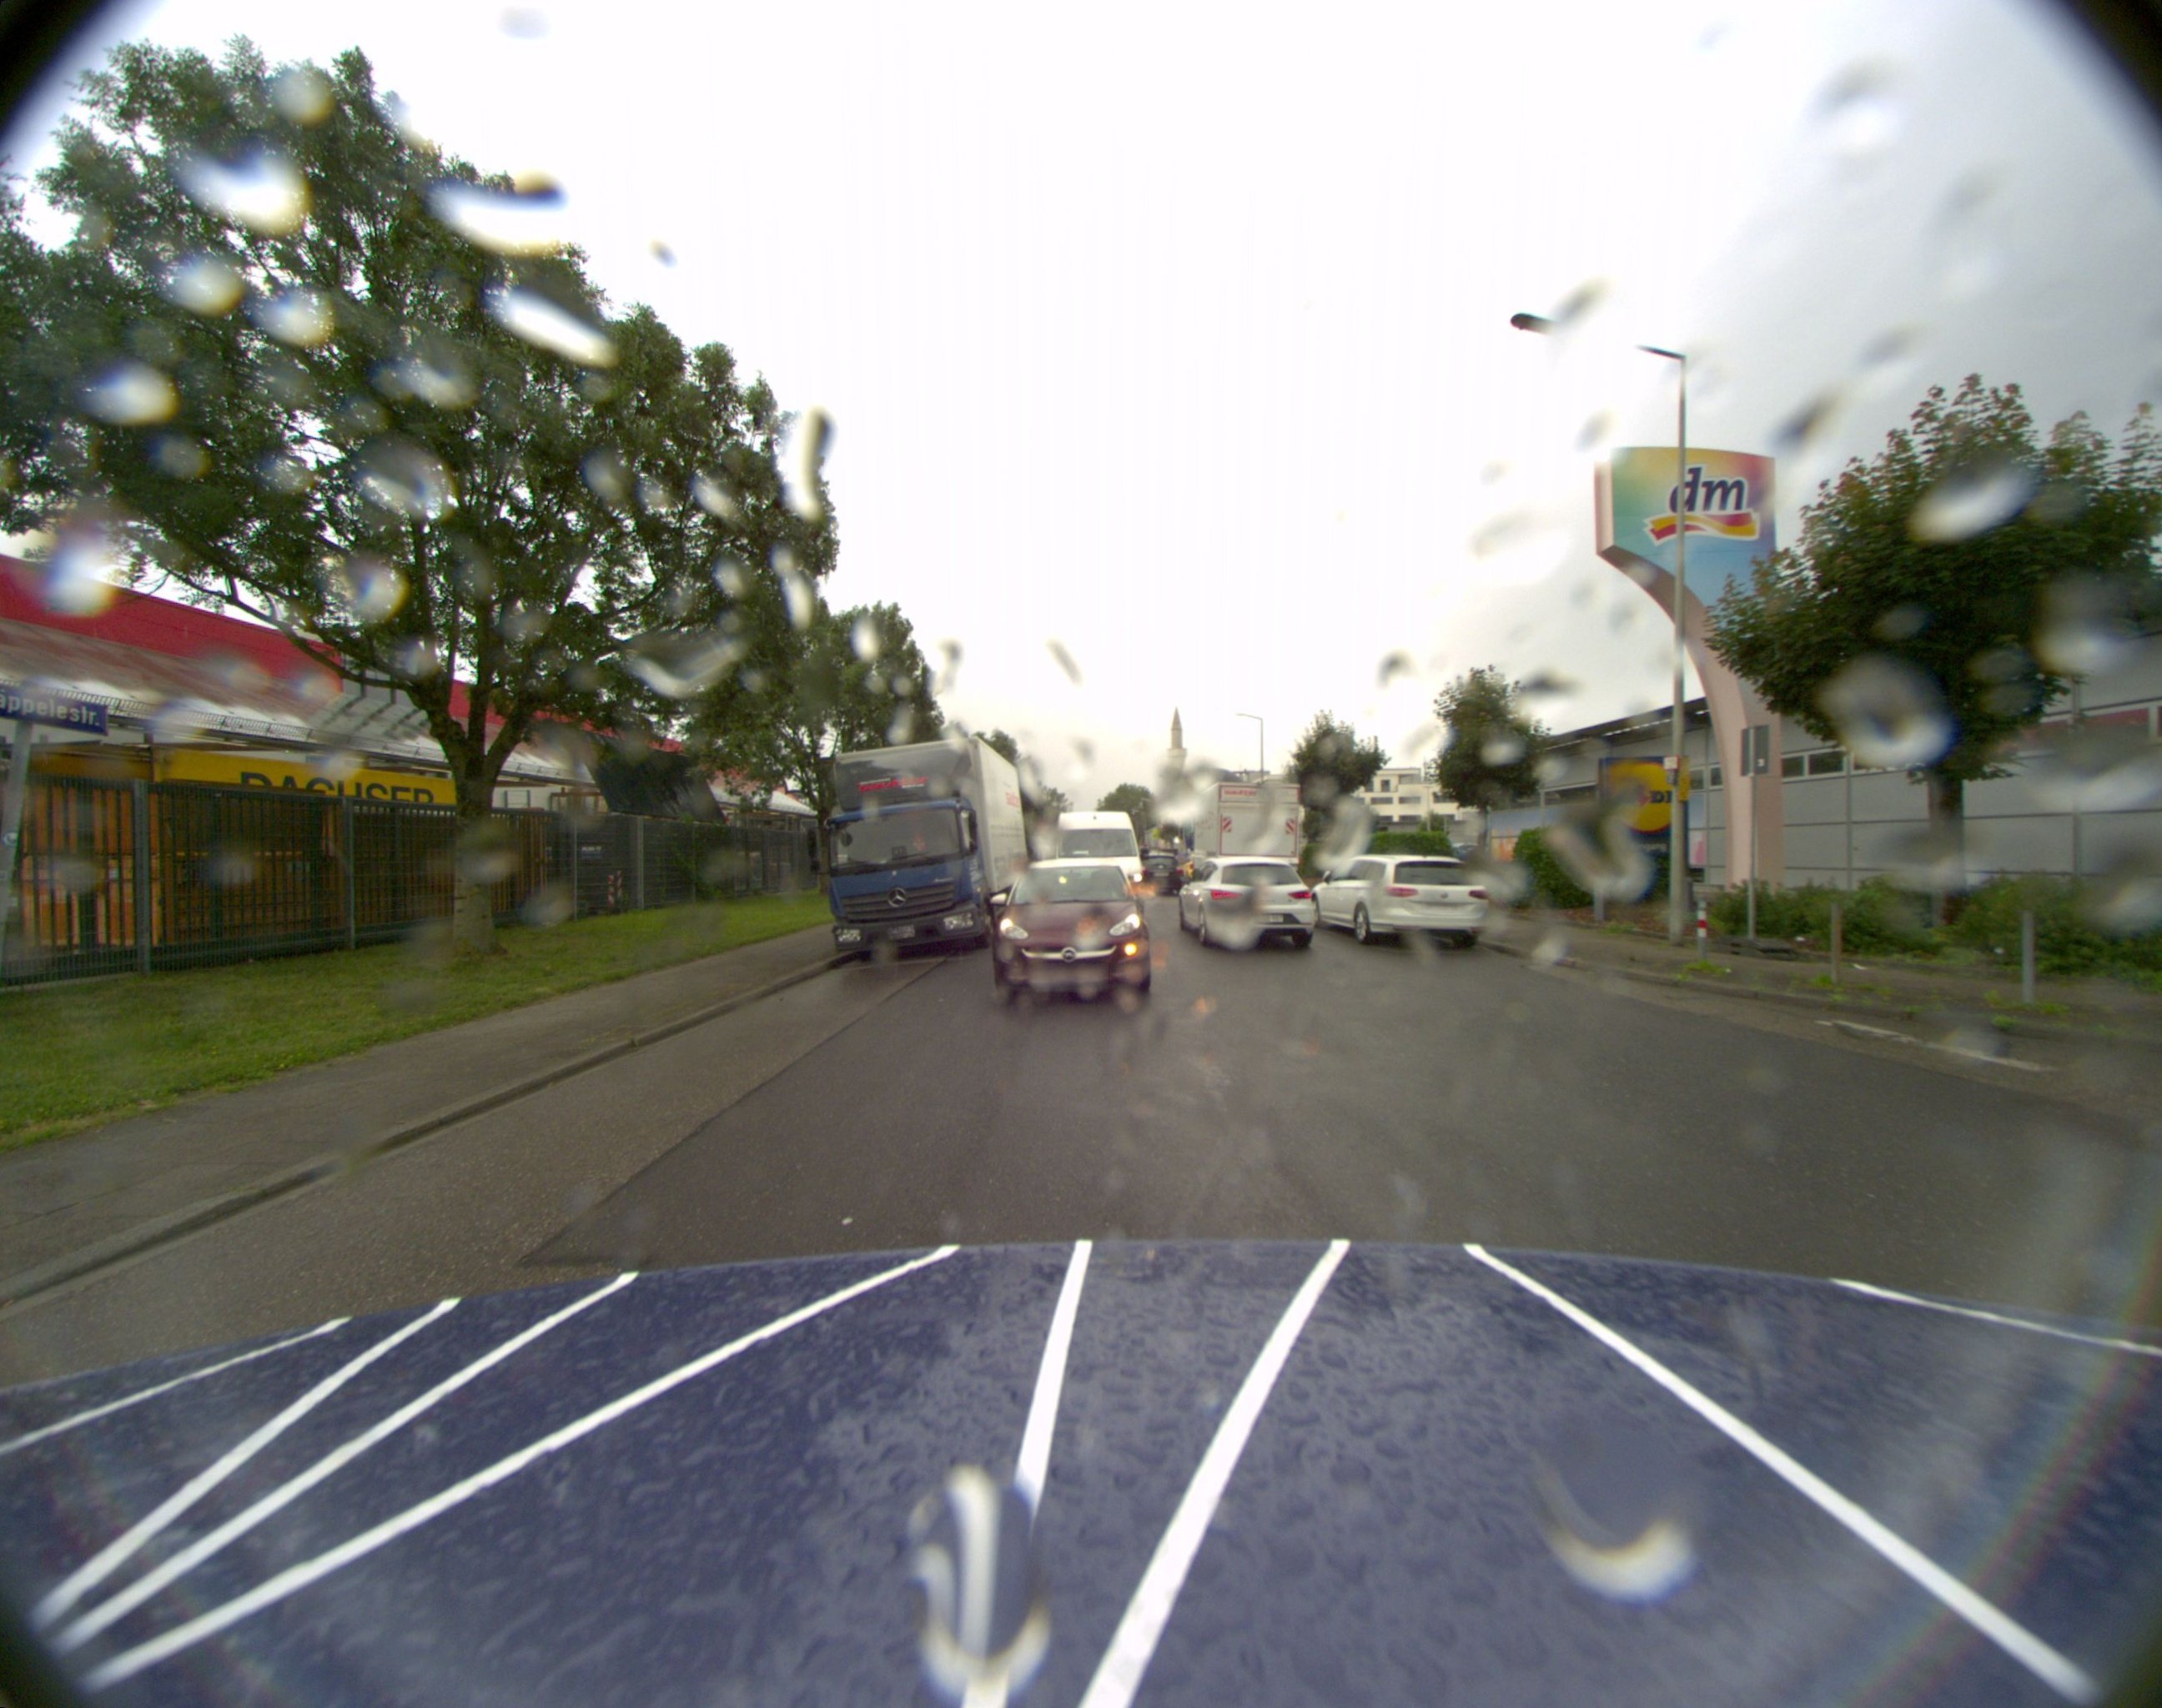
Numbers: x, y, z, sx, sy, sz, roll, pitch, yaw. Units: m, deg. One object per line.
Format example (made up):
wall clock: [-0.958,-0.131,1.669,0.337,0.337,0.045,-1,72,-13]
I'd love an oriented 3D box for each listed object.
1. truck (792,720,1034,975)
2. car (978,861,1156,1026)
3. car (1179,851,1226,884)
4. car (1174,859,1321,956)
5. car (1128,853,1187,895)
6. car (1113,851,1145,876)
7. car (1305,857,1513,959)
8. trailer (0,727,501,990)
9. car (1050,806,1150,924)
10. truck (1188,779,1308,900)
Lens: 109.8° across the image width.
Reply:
truck: [-2.786,-0.115,15.448,2.678,3.671,8.009,-4,0,2]
car: [-0.105,0.878,9.056,1.637,1.447,3.577,-3,1,1]
car: [5.790,0.605,36.471,1.691,1.457,3.513,-1,1,0]
car: [2.751,0.817,13.437,1.735,1.432,4.000,0,0,0]
car: [2.765,0.684,28.140,1.735,1.432,3.999,0,0,-1]
car: [2.825,0.537,45.015,1.615,1.430,3.407,0,1,-1]
car: [5.468,0.802,13.389,1.840,1.426,4.491,0,1,2]
trailer: [-18.228,-0.025,16.961,2.974,4.219,9.469,-1,2,1]
car: [0.382,0.214,18.878,2.085,2.466,5.346,-1,0,-1]
truck: [5.772,-0.467,27.667,2.888,3.724,7.868,-1,1,2]
